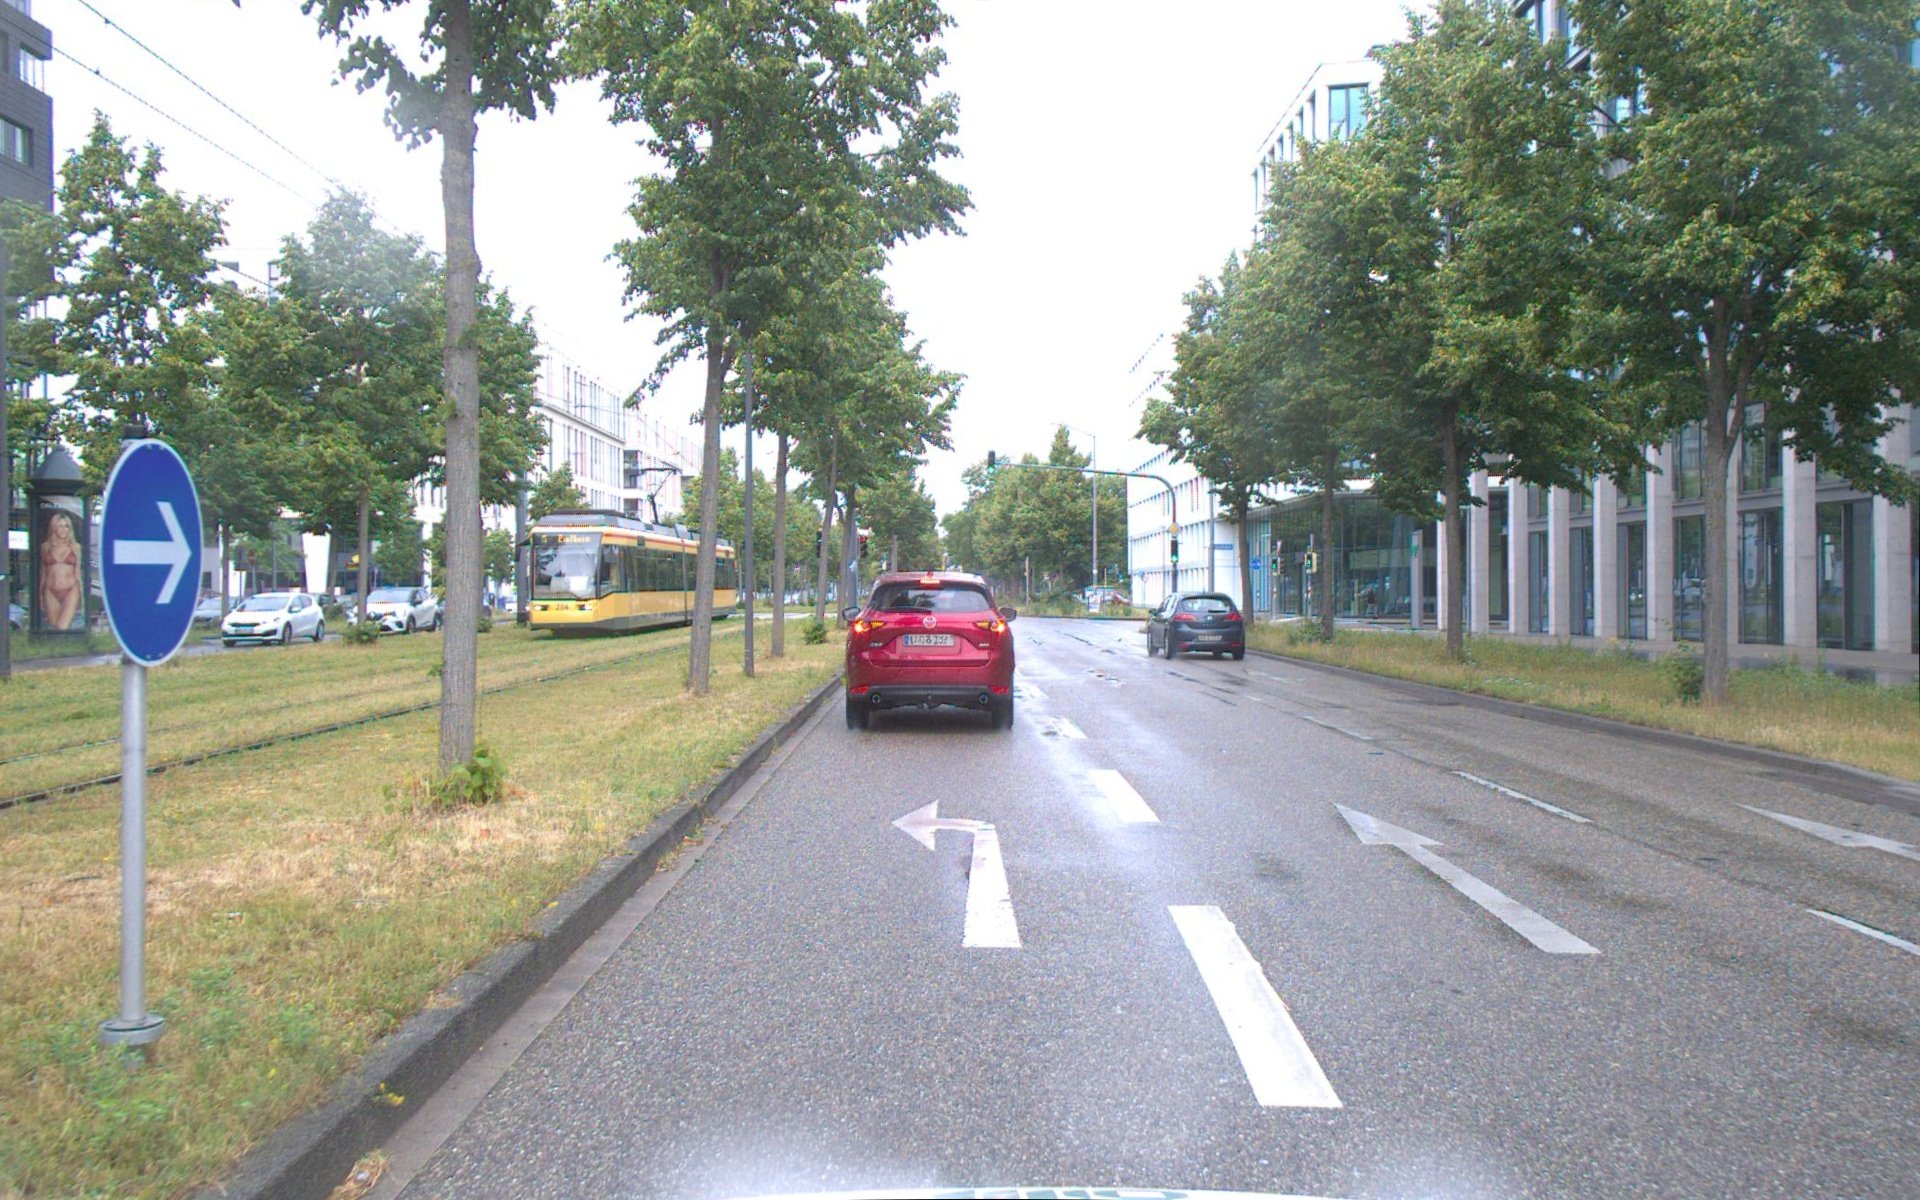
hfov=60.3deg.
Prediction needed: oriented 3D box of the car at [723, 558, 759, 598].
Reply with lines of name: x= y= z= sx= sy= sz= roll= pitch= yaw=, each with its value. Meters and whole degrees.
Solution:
car: x=-14.908 y=-1.493 z=112.576 sx=2.211 sy=2.606 sz=4.650 roll=0 pitch=1 yaw=-5

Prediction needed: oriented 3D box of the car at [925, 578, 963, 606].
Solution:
car: x=-0.896 y=-0.445 z=91.242 sx=1.928 sy=1.462 sz=4.550 roll=1 pitch=1 yaw=-3

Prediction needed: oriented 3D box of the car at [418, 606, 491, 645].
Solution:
car: x=-21.003 y=1.038 z=68.852 sx=1.846 sy=1.485 sz=3.999 roll=0 pitch=1 yaw=-1

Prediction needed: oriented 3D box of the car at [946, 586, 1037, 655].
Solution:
car: x=0.775 y=0.432 z=38.196 sx=1.918 sy=1.490 sz=3.783 roll=0 pitch=1 yaw=4

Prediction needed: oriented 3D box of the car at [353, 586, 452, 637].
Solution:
car: x=-16.690 y=0.314 z=49.707 sx=1.675 sy=1.429 sz=3.999 roll=0 pitch=1 yaw=-1

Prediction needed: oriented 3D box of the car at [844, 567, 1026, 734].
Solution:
car: x=-0.301 y=0.493 z=18.838 sx=1.860 sy=1.706 sz=3.999 roll=0 pitch=1 yaw=-1

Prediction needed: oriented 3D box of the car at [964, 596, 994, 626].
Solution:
car: x=1.322 y=0.778 z=117.058 sx=1.953 sy=2.049 sz=3.999 roll=0 pitch=1 yaw=-1

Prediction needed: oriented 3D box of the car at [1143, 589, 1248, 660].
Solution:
car: x=5.231 y=0.503 z=37.086 sx=1.708 sy=1.490 sz=3.780 roll=0 pitch=1 yaw=-2

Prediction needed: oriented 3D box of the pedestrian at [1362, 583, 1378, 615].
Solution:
pedestrian: x=22.088 y=-0.058 z=89.175 sx=0.765 sy=1.737 sz=0.680 roll=0 pitch=0 yaw=21

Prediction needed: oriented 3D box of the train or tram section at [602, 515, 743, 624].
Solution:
train or tram section: x=-10.800 y=-1.121 z=64.027 sx=3.065 sy=3.722 sz=15.062 roll=0 pitch=1 yaw=-1

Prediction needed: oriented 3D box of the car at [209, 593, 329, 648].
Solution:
car: x=-20.045 y=0.564 z=48.131 sx=1.846 sy=1.485 sz=3.999 roll=0 pitch=1 yaw=-1

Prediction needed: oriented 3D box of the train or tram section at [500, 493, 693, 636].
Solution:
train or tram section: x=-10.576 y=-0.997 z=49.882 sx=3.065 sy=3.722 sz=13.404 roll=0 pitch=1 yaw=-1

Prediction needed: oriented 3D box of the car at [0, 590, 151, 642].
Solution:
car: x=-28.431 y=0.481 z=52.401 sx=1.966 sy=1.548 sz=4.650 roll=0 pitch=1 yaw=43
